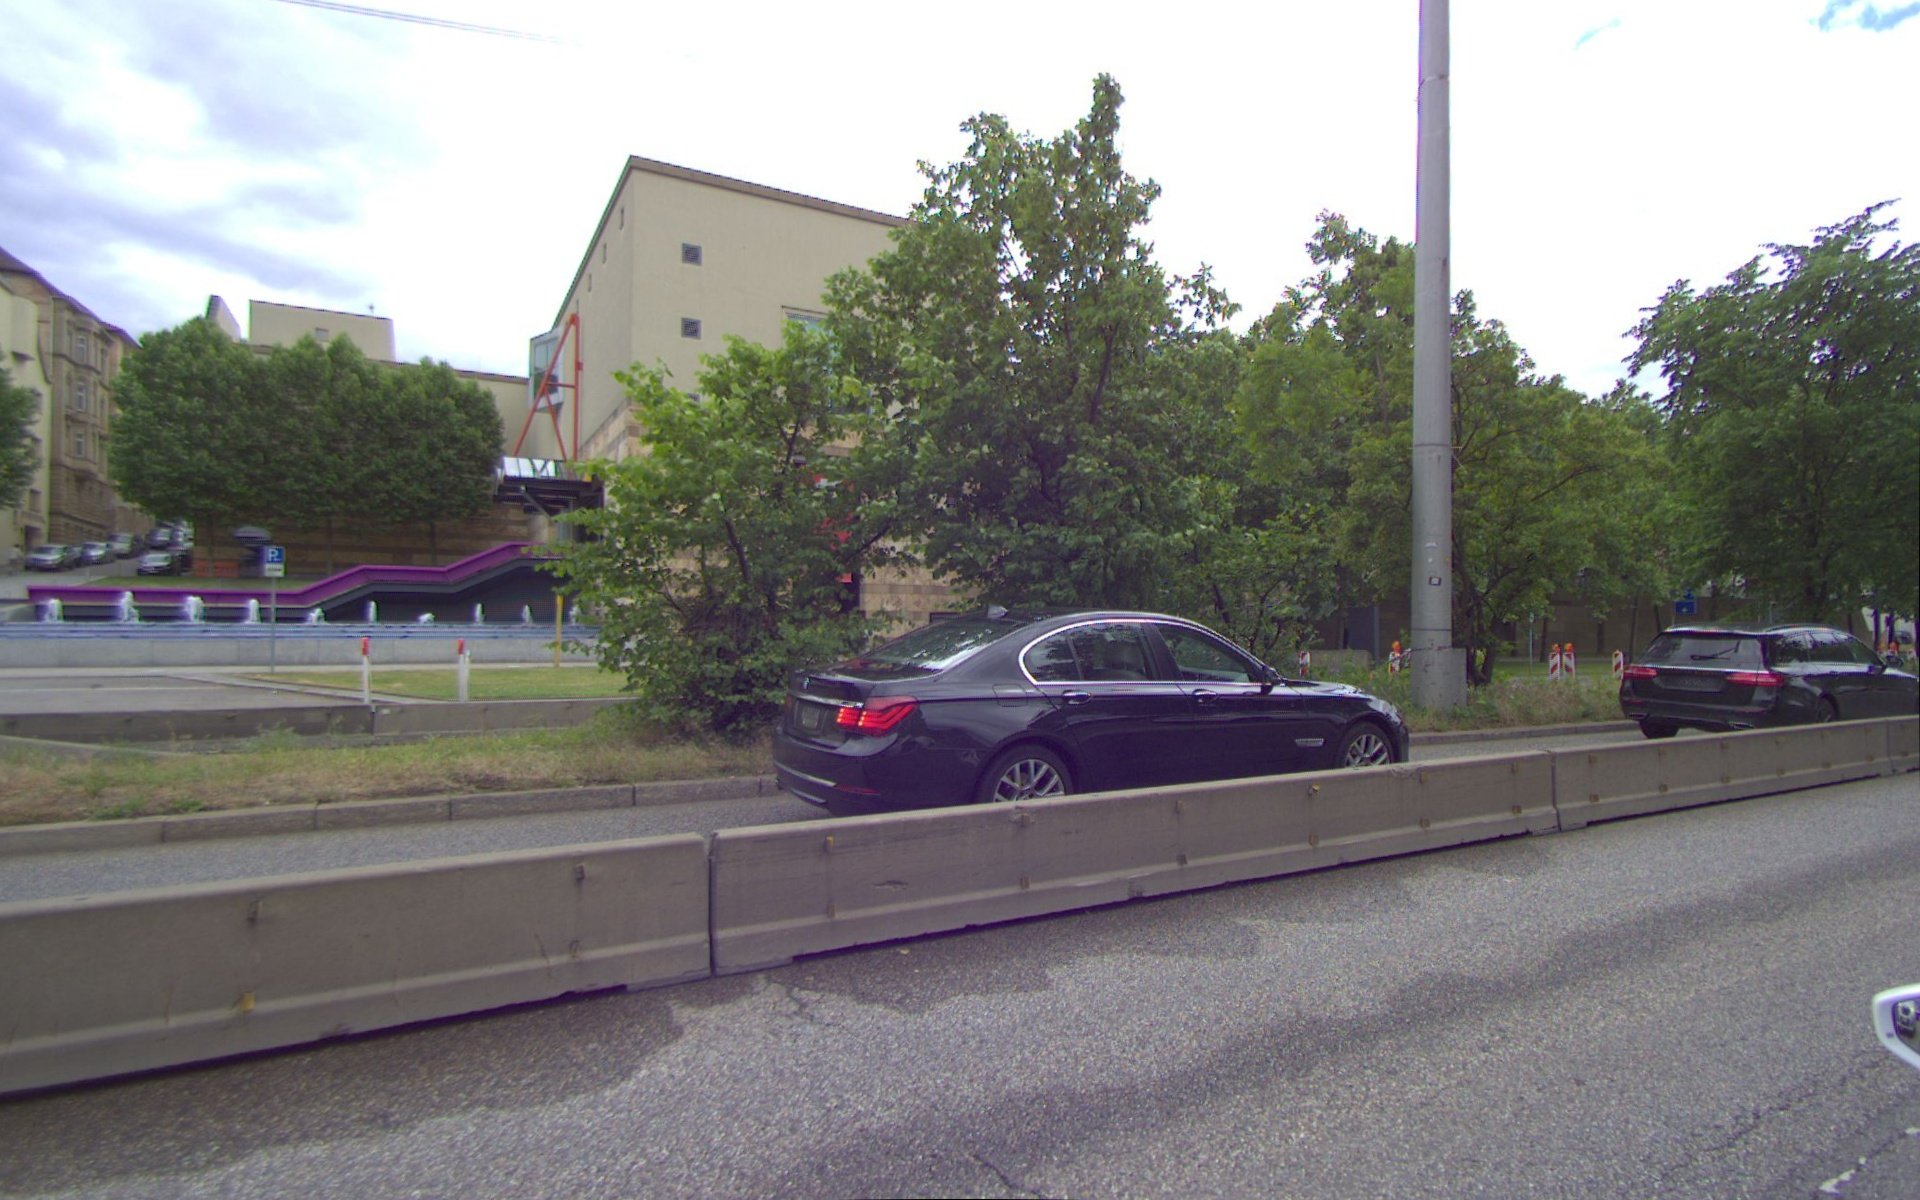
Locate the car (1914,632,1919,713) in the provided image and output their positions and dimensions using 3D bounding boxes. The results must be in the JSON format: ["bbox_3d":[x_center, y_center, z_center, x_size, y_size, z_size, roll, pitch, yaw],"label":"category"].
[{"bbox_3d":[18.753,1.276,17.645,4.488,1.385,1.670,1,-1,-30],"label":"car"}]

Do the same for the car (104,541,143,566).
[{"bbox_3d":[-66.835,-3.682,80.313,1.590,1.822,3.780,1,0,-27],"label":"car"}]

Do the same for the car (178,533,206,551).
[{"bbox_3d":[-78.916,-5.912,103.200,1.590,1.632,3.780,1,0,-27],"label":"car"}]

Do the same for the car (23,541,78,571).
[{"bbox_3d":[-58.896,-2.820,65.128,1.589,1.822,3.782,1,0,-26],"label":"car"}]

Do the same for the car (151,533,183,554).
[{"bbox_3d":[-73.642,-5.226,93.306,1.590,1.704,3.780,1,0,-27],"label":"car"}]

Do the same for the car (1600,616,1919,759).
[{"bbox_3d":[10.294,1.000,12.627,4.711,1.519,1.808,2,-1,-30],"label":"car"}]

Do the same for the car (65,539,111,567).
[{"bbox_3d":[-62.284,-3.346,71.825,1.590,1.822,3.780,1,0,-27],"label":"car"}]

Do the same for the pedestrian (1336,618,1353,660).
[{"bbox_3d":[18.778,1.919,49.097,0.657,2.040,0.449,1,-1,-29],"label":"pedestrian"}]

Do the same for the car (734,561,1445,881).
[{"bbox_3d":[1.046,0.694,7.227,4.876,1.658,1.915,2,0,-29],"label":"car"}]

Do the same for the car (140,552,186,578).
[{"bbox_3d":[-50.130,-2.183,63.229,1.591,1.557,3.778,2,1,-29],"label":"car"}]

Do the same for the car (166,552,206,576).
[{"bbox_3d":[-53.489,-2.463,69.431,1.591,1.557,3.778,2,1,-29],"label":"car"}]

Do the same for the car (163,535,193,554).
[{"bbox_3d":[-76.314,-5.431,98.073,1.590,1.632,3.780,1,0,-27],"label":"car"}]
